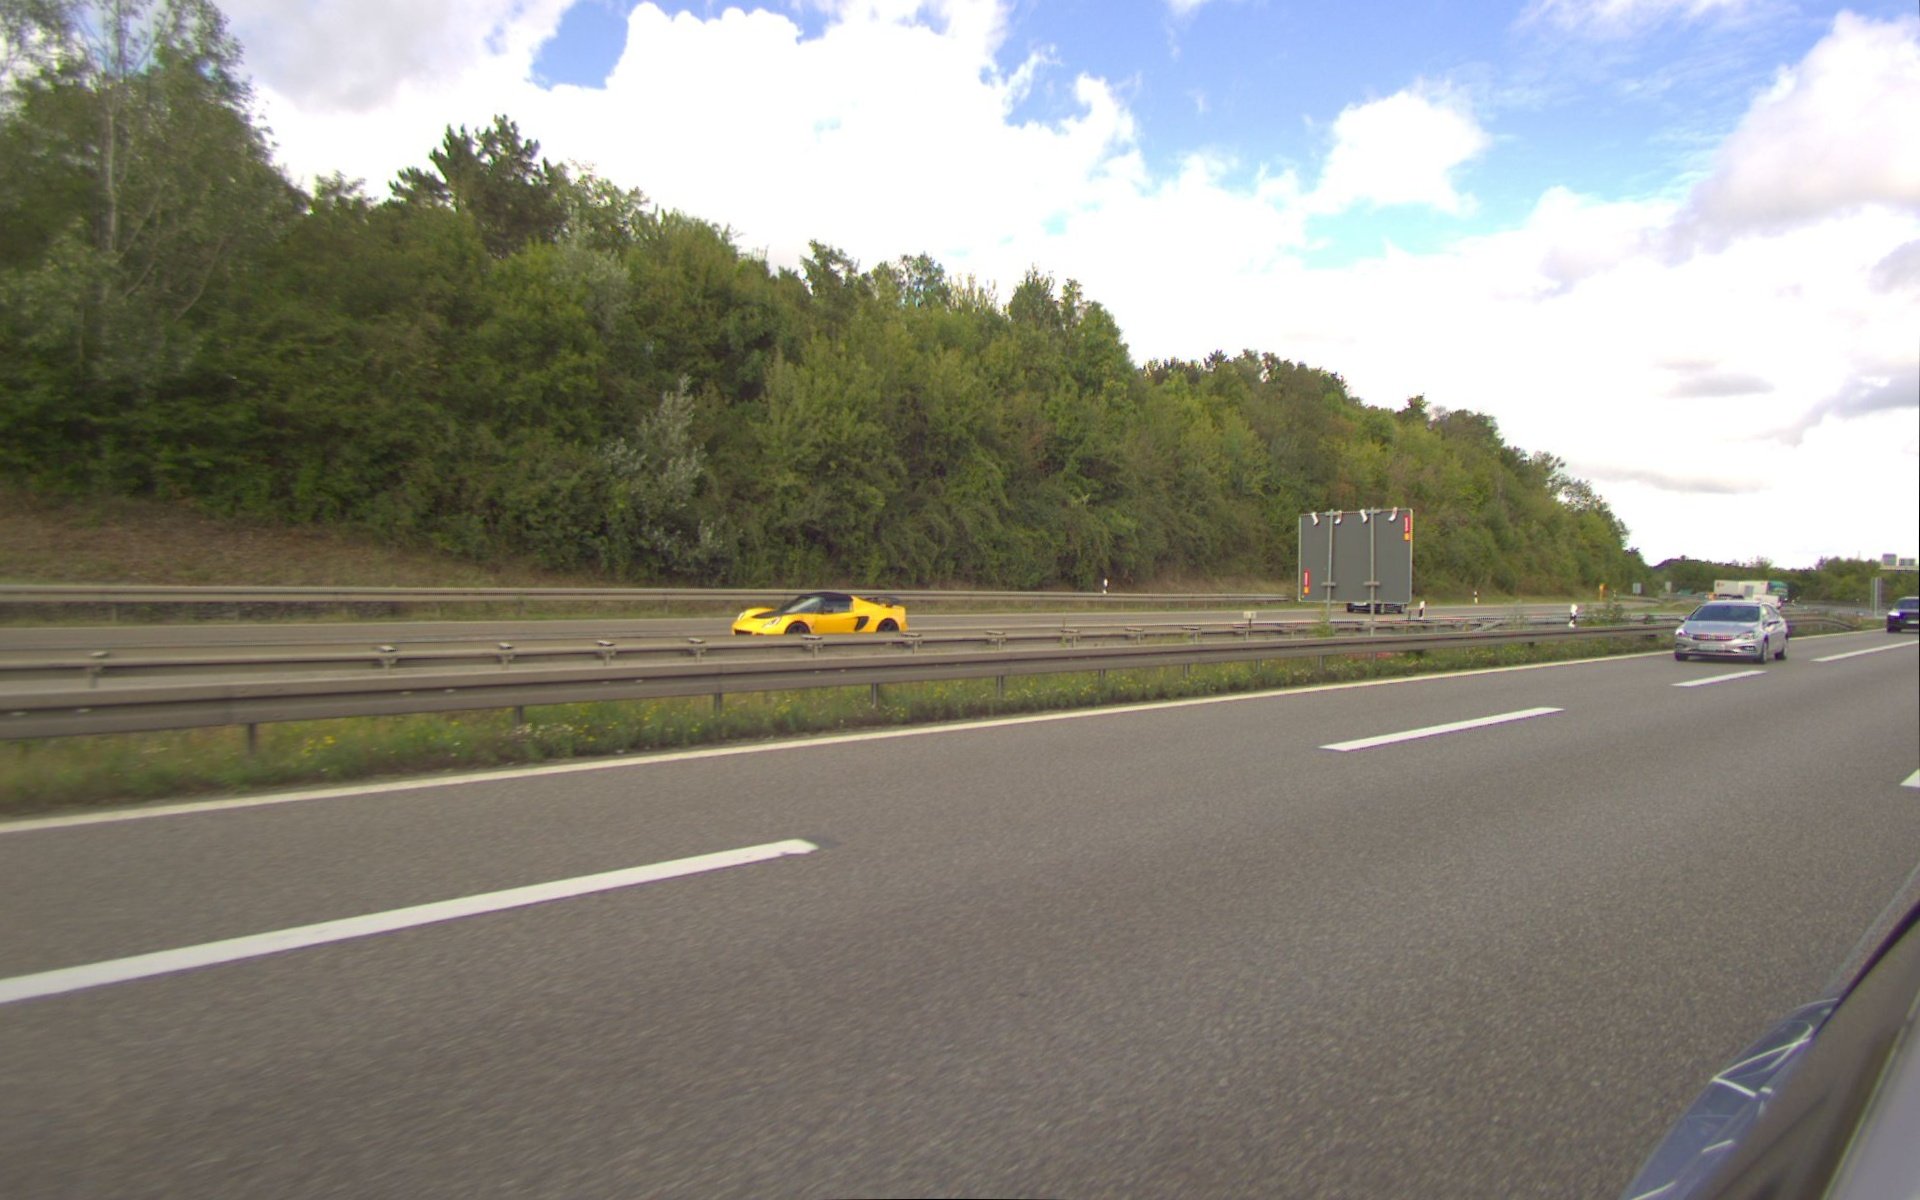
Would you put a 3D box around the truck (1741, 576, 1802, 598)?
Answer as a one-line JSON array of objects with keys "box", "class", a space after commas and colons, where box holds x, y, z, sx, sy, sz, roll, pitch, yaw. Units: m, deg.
[{"box": [148.639, -2.434, 185.622, 2.923, 3.845, 13.416, 1, 1, 11], "class": "truck"}]

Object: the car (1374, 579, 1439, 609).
[{"box": [23.162, -0.312, 52.391, 1.713, 1.433, 4.101, 2, 2, 45], "class": "car"}]

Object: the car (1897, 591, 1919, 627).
[{"box": [46.883, 0.431, 48.835, 4.773, 1.656, 1.875, 0, 1, -40], "class": "car"}]

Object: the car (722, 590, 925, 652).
[{"box": [-2.866, 0.402, 21.773, 4.096, 1.196, 1.715, 0, 1, -41], "class": "car"}]

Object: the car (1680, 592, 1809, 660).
[{"box": [19.410, 0.582, 24.954, 4.536, 1.504, 1.686, 0, 1, -41], "class": "car"}]
